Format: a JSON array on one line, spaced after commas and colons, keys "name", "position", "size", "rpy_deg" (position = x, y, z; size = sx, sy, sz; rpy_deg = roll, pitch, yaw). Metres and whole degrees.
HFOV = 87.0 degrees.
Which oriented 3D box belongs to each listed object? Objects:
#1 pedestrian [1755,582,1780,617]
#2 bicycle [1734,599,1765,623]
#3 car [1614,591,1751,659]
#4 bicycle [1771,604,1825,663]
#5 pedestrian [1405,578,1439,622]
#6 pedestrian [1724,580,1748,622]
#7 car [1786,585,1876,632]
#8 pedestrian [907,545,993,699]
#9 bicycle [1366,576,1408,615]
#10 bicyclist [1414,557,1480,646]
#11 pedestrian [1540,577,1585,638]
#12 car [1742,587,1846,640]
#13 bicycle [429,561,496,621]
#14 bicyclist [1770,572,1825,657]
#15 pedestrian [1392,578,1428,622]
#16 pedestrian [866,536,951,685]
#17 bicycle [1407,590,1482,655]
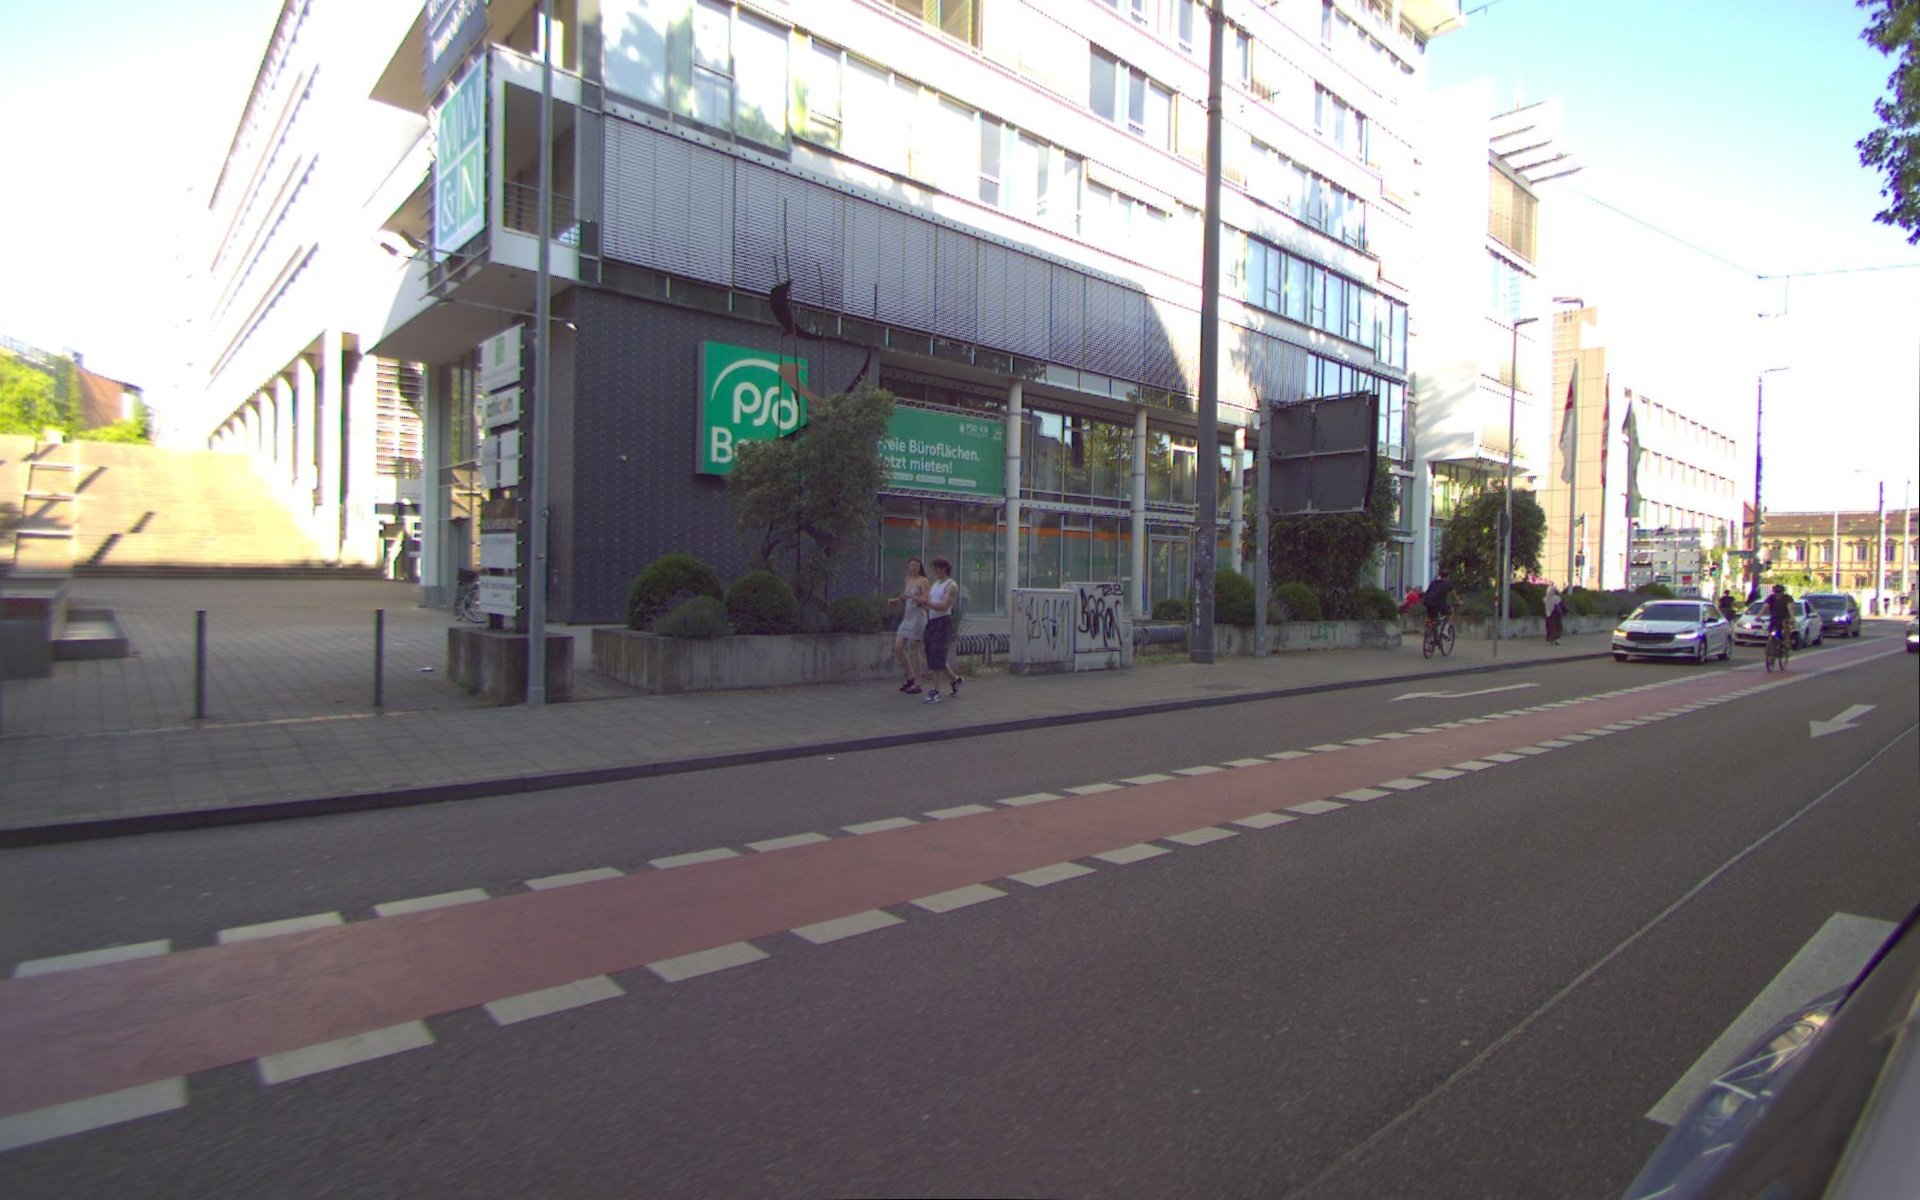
[{"name": "pedestrian", "position": [37.888, -0.018, 47.489], "size": [0.652, 1.601, 0.693], "rpy_deg": [0, 4, -40]}, {"name": "bicycle", "position": [30.704, 0.417, 39.349], "size": [1.870, 0.856, 0.499], "rpy_deg": [0, 5, -41]}, {"name": "car", "position": [17.097, 0.525, 23.899], "size": [3.952, 1.437, 1.784], "rpy_deg": [0, 2, -42]}, {"name": "bicycle", "position": [17.382, 0.659, 20.973], "size": [2.090, 1.135, 0.550], "rpy_deg": [0, 2, -43]}, {"name": "pedestrian", "position": [13.841, -0.019, 30.327], "size": [0.535, 1.287, 0.783], "rpy_deg": [0, 1, -45]}, {"name": "pedestrian", "position": [30.295, 0.024, 39.499], "size": [0.579, 1.601, 0.527], "rpy_deg": [0, 4, -40]}, {"name": "car", "position": [32.449, 0.286, 37.670], "size": [3.931, 1.616, 1.997], "rpy_deg": [0, 2, -42]}, {"name": "pedestrian", "position": [-0.124, 0.251, 12.587], "size": [0.876, 1.831, 0.564], "rpy_deg": [0, 2, -41]}, {"name": "bicycle", "position": [13.254, -0.141, 31.406], "size": [1.583, 1.176, 0.534], "rpy_deg": [0, 1, -41]}, {"name": "bicyclist", "position": [10.349, 0.021, 21.516], "size": [1.188, 1.783, 0.743], "rpy_deg": [0, 4, -41]}, {"name": "pedestrian", "position": [16.249, 0.191, 27.295], "size": [0.895, 1.594, 0.753], "rpy_deg": [0, 1, -38]}, {"name": "car", "position": [25.724, 0.382, 31.182], "size": [3.798, 1.482, 1.672], "rpy_deg": [0, 2, -38]}, {"name": "bicycle", "position": [-9.668, -0.191, 19.635], "size": [0.688, 1.076, 1.878], "rpy_deg": [0, 2, -42]}, {"name": "bicyclist", "position": [17.311, 0.288, 20.926], "size": [0.702, 1.709, 0.751], "rpy_deg": [0, 2, -42]}, {"name": "pedestrian", "position": [13.284, -0.007, 29.889], "size": [0.750, 1.287, 0.682], "rpy_deg": [2, 1, 45]}, {"name": "pedestrian", "position": [-0.658, 0.117, 12.973], "size": [0.880, 1.831, 0.591], "rpy_deg": [0, 2, -41]}, {"name": "bicycle", "position": [10.338, 0.453, 21.564], "size": [1.894, 1.291, 0.665], "rpy_deg": [0, 5, -41]}]
